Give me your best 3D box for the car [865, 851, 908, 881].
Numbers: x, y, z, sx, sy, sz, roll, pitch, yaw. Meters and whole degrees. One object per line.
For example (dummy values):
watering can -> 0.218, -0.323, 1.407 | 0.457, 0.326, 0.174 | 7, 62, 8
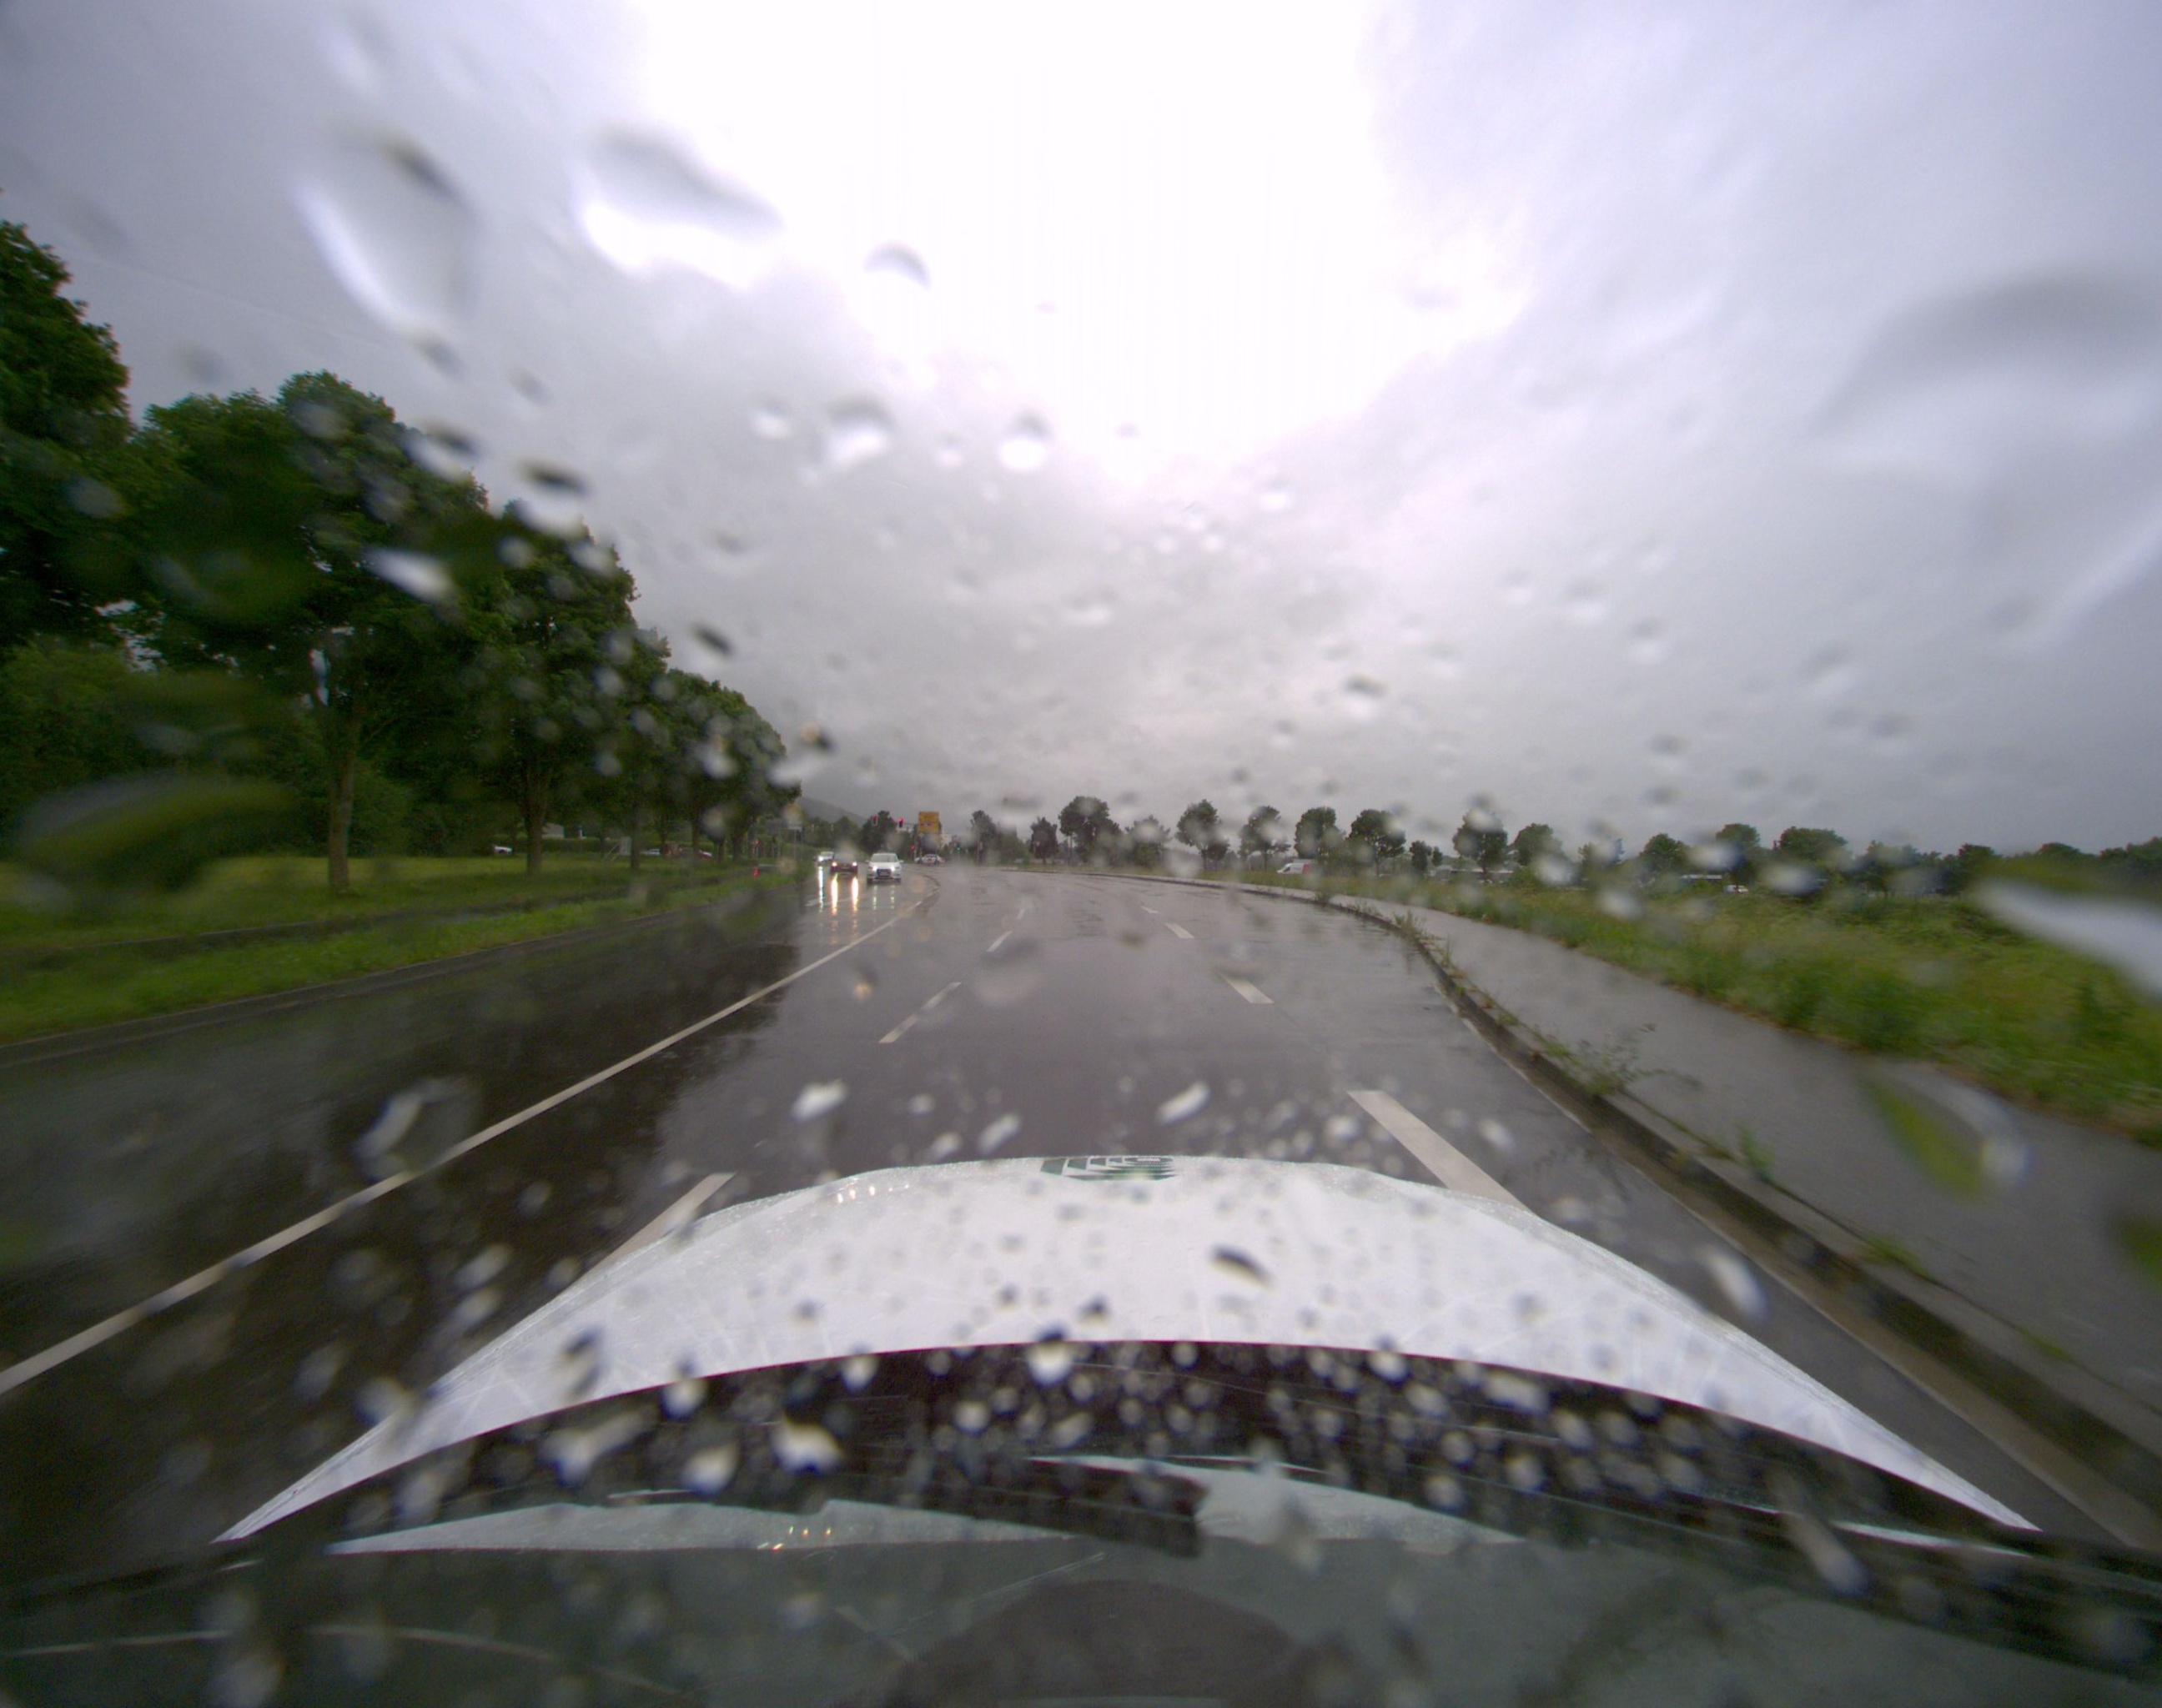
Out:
car -> -10.136, 0.595, 42.724 | 1.738, 1.487, 4.000 | -1, 0, -7

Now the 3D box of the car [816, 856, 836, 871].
car -> -26.372, 0.959, 84.390 | 1.883, 1.573, 4.619 | -1, 0, -16

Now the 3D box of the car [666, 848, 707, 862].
car -> -50.266, 0.149, 103.807 | 4.380, 1.579, 1.725 | 2, 0, -14

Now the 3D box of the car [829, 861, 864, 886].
car -> -15.964, 1.297, 55.504 | 1.885, 1.587, 4.102 | 3, -1, -11

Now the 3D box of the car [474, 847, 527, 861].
car -> -69.963, -0.011, 98.191 | 4.888, 1.553, 1.791 | 1, 0, -14

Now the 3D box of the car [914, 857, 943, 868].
car -> -23.701, 1.360, 126.851 | 4.377, 1.579, 1.726 | 2, 0, -11
